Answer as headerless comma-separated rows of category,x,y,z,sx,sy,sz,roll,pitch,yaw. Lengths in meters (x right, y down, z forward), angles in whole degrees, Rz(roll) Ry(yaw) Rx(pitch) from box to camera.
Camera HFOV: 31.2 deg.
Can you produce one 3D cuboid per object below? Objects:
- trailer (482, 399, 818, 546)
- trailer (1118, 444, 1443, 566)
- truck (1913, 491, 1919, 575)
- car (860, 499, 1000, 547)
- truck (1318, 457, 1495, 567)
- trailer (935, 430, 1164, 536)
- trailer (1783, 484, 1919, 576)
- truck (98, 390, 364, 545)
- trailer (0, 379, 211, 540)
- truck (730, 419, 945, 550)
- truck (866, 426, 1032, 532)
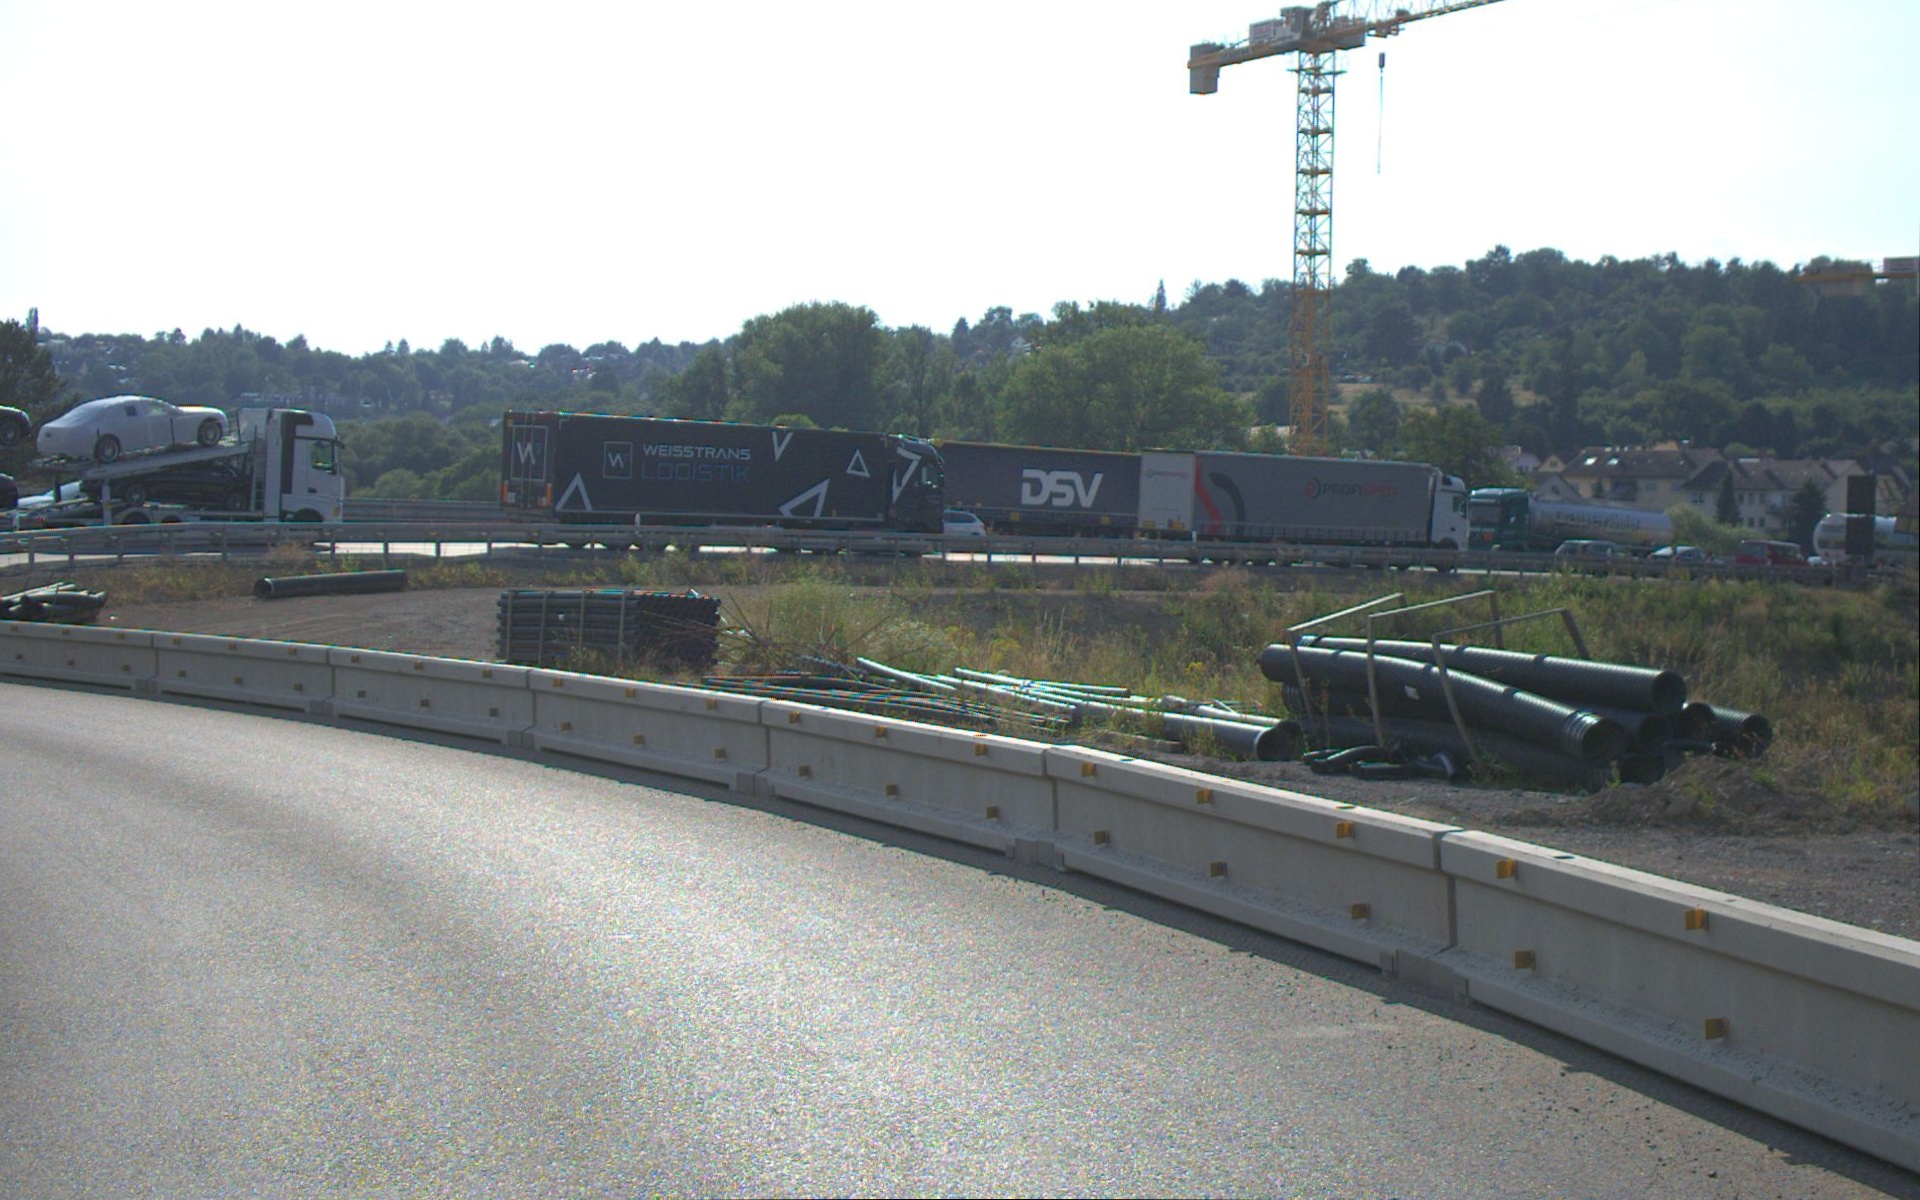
trailer,-9.428,-3.842,106.025,10.764,4.078,2.967,1,1,-45
trailer,12.073,-3.444,127.590,3.394,3.983,14.706,3,2,44
truck,49.239,-3.107,165.764,3.399,3.983,6.607,3,2,44
car,-1.062,-2.779,124.191,4.966,1.495,2.034,0,4,-45
truck,17.294,-3.377,132.998,3.352,3.983,6.607,3,2,44
trailer,3.535,-4.455,132.965,9.544,3.739,3.015,1,0,-45
trailer,43.757,-3.138,160.106,3.394,3.983,14.706,3,2,44
truck,-20.113,-3.632,95.056,2.856,3.983,6.607,3,2,44
trailer,-26.794,-3.759,88.179,2.865,3.983,15.704,3,2,44
truck,-3.943,-3.717,111.404,6.606,3.983,2.893,1,2,-45
truck,-0.393,-4.504,129.065,3.004,3.714,5.673,2,0,45
